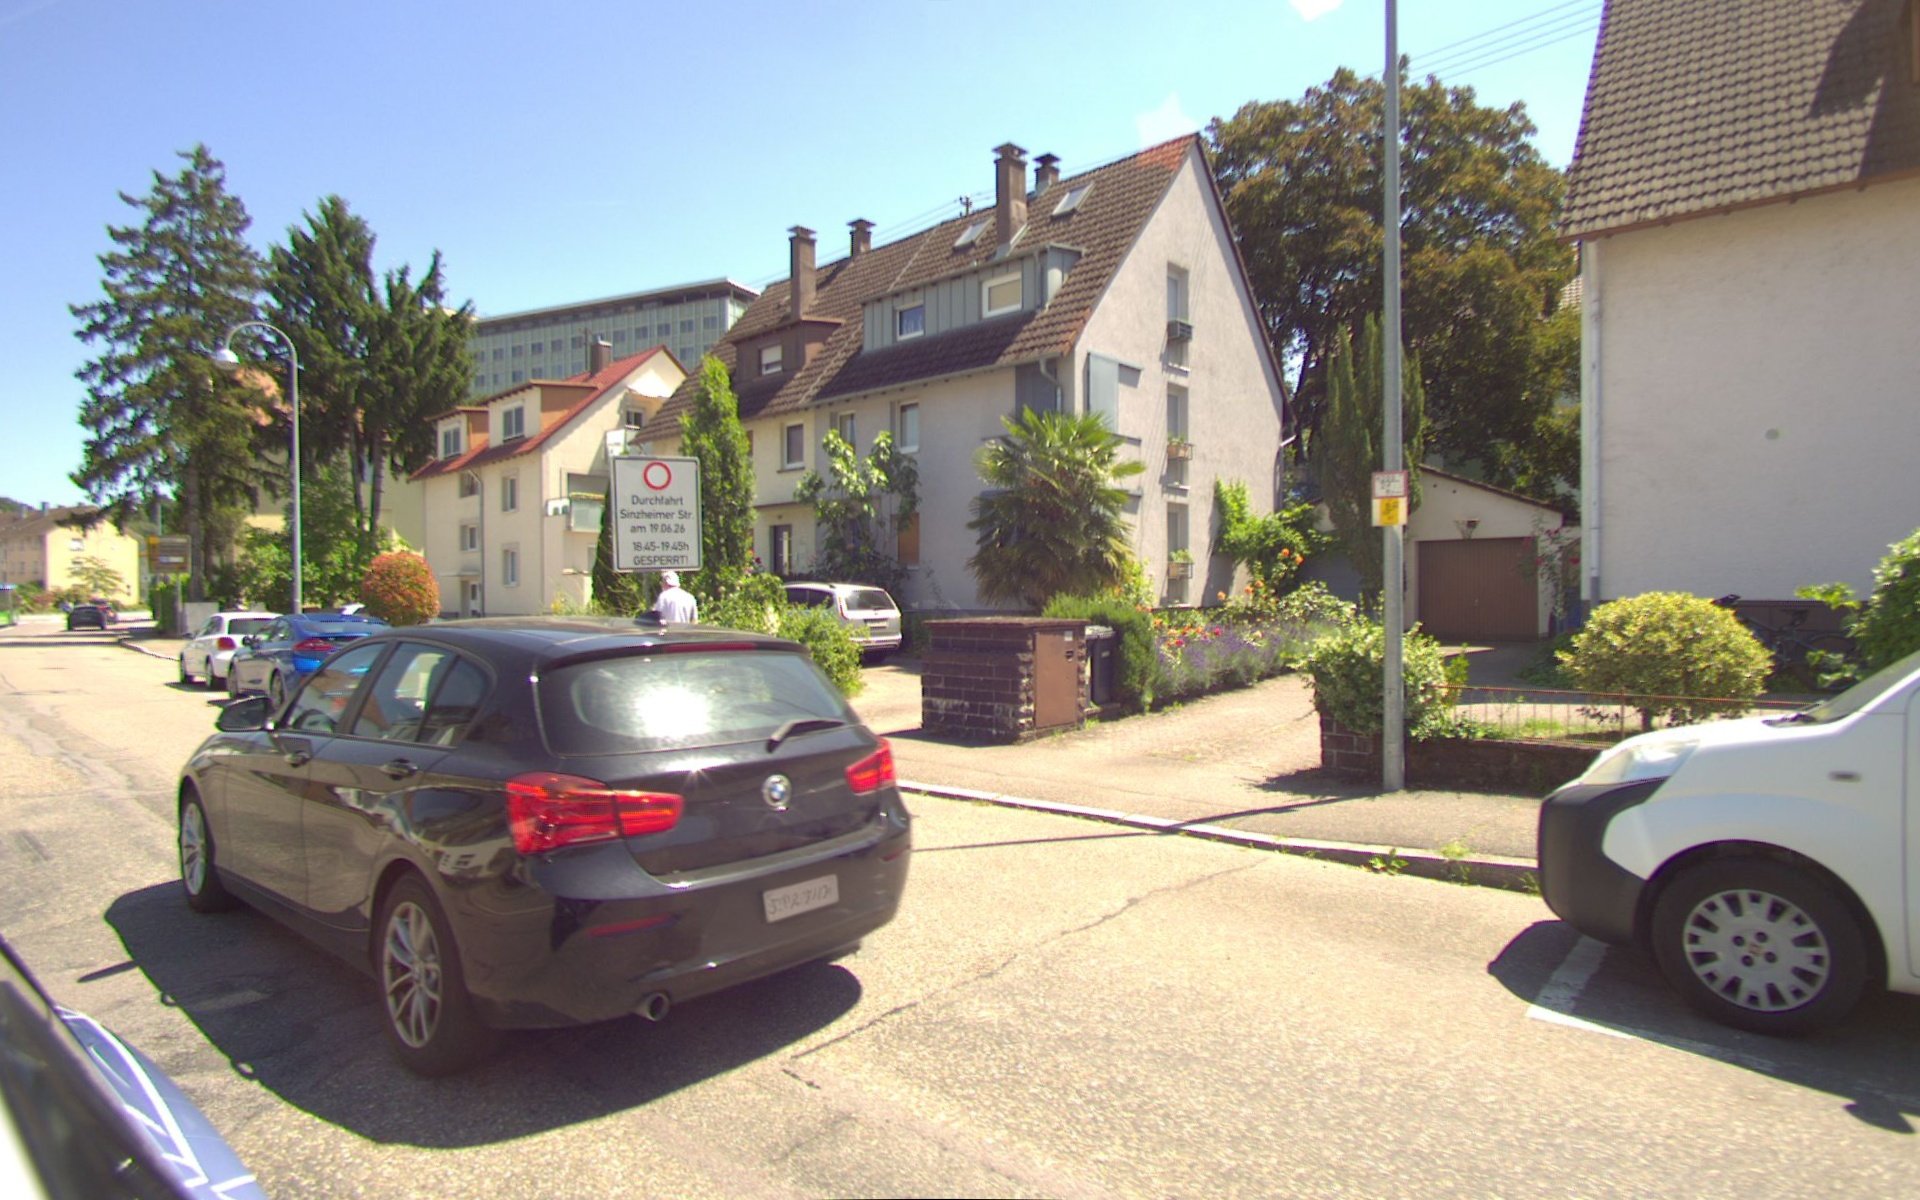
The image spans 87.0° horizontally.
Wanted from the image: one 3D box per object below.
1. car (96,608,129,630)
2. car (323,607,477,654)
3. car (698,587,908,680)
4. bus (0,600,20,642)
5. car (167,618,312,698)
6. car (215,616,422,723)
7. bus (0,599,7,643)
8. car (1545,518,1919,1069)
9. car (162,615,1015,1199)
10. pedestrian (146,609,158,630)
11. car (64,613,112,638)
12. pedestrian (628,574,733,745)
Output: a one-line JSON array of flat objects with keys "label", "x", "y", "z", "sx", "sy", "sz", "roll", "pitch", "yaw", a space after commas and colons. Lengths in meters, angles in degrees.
[{"label": "car", "x": -62.644, "y": 1.429, "z": 74.839, "sx": 1.783, "sy": 1.500, "sz": 4.394, "roll": 2, "pitch": -3, "yaw": -39}, {"label": "car", "x": -19.622, "y": 1.021, "z": 35.566, "sx": 4.414, "sy": 1.452, "sz": 1.849, "roll": -1, "pitch": 0, "yaw": -42}, {"label": "car", "x": -3.141, "y": 0.558, "z": 19.715, "sx": 4.363, "sy": 1.519, "sz": 1.750, "roll": 2, "pitch": 3, "yaw": 43}, {"label": "bus", "x": -74.840, "y": 1.575, "z": 77.855, "sx": 2.884, "sy": 3.085, "sz": 12.585, "roll": 0, "pitch": -1, "yaw": -39}, {"label": "car", "x": -14.397, "y": 1.114, "z": 20.149, "sx": 3.941, "sy": 1.434, "sz": 1.561, "roll": -2, "pitch": -3, "yaw": 43}, {"label": "car", "x": -10.173, "y": 1.013, "z": 15.904, "sx": 4.363, "sy": 1.450, "sz": 1.749, "roll": -2, "pitch": -3, "yaw": 44}, {"label": "bus", "x": -66.794, "y": 1.453, "z": 68.166, "sx": 2.866, "sy": 3.104, "sz": 12.585, "roll": 0, "pitch": -1, "yaw": -39}, {"label": "car", "x": 4.290, "y": 0.629, "z": 3.291, "sx": 3.885, "sy": 1.749, "sz": 1.705, "roll": -1, "pitch": -3, "yaw": 41}, {"label": "car", "x": -1.864, "y": 0.791, "z": 4.325, "sx": 3.998, "sy": 1.428, "sz": 1.714, "roll": -1, "pitch": -2, "yaw": 41}, {"label": "pedestrian", "x": -63.040, "y": 1.551, "z": 78.962, "sx": 0.606, "sy": 1.576, "sz": 0.825, "roll": -7, "pitch": 4, "yaw": -41}, {"label": "car", "x": -54.344, "y": 1.605, "z": 63.115, "sx": 1.717, "sy": 1.516, "sz": 4.153, "roll": 2, "pitch": -2, "yaw": -33}, {"label": "pedestrian", "x": -3.347, "y": 0.677, "z": 12.109, "sx": 0.681, "sy": 1.903, "sz": 1.020, "roll": -6, "pitch": 4, "yaw": -43}]
